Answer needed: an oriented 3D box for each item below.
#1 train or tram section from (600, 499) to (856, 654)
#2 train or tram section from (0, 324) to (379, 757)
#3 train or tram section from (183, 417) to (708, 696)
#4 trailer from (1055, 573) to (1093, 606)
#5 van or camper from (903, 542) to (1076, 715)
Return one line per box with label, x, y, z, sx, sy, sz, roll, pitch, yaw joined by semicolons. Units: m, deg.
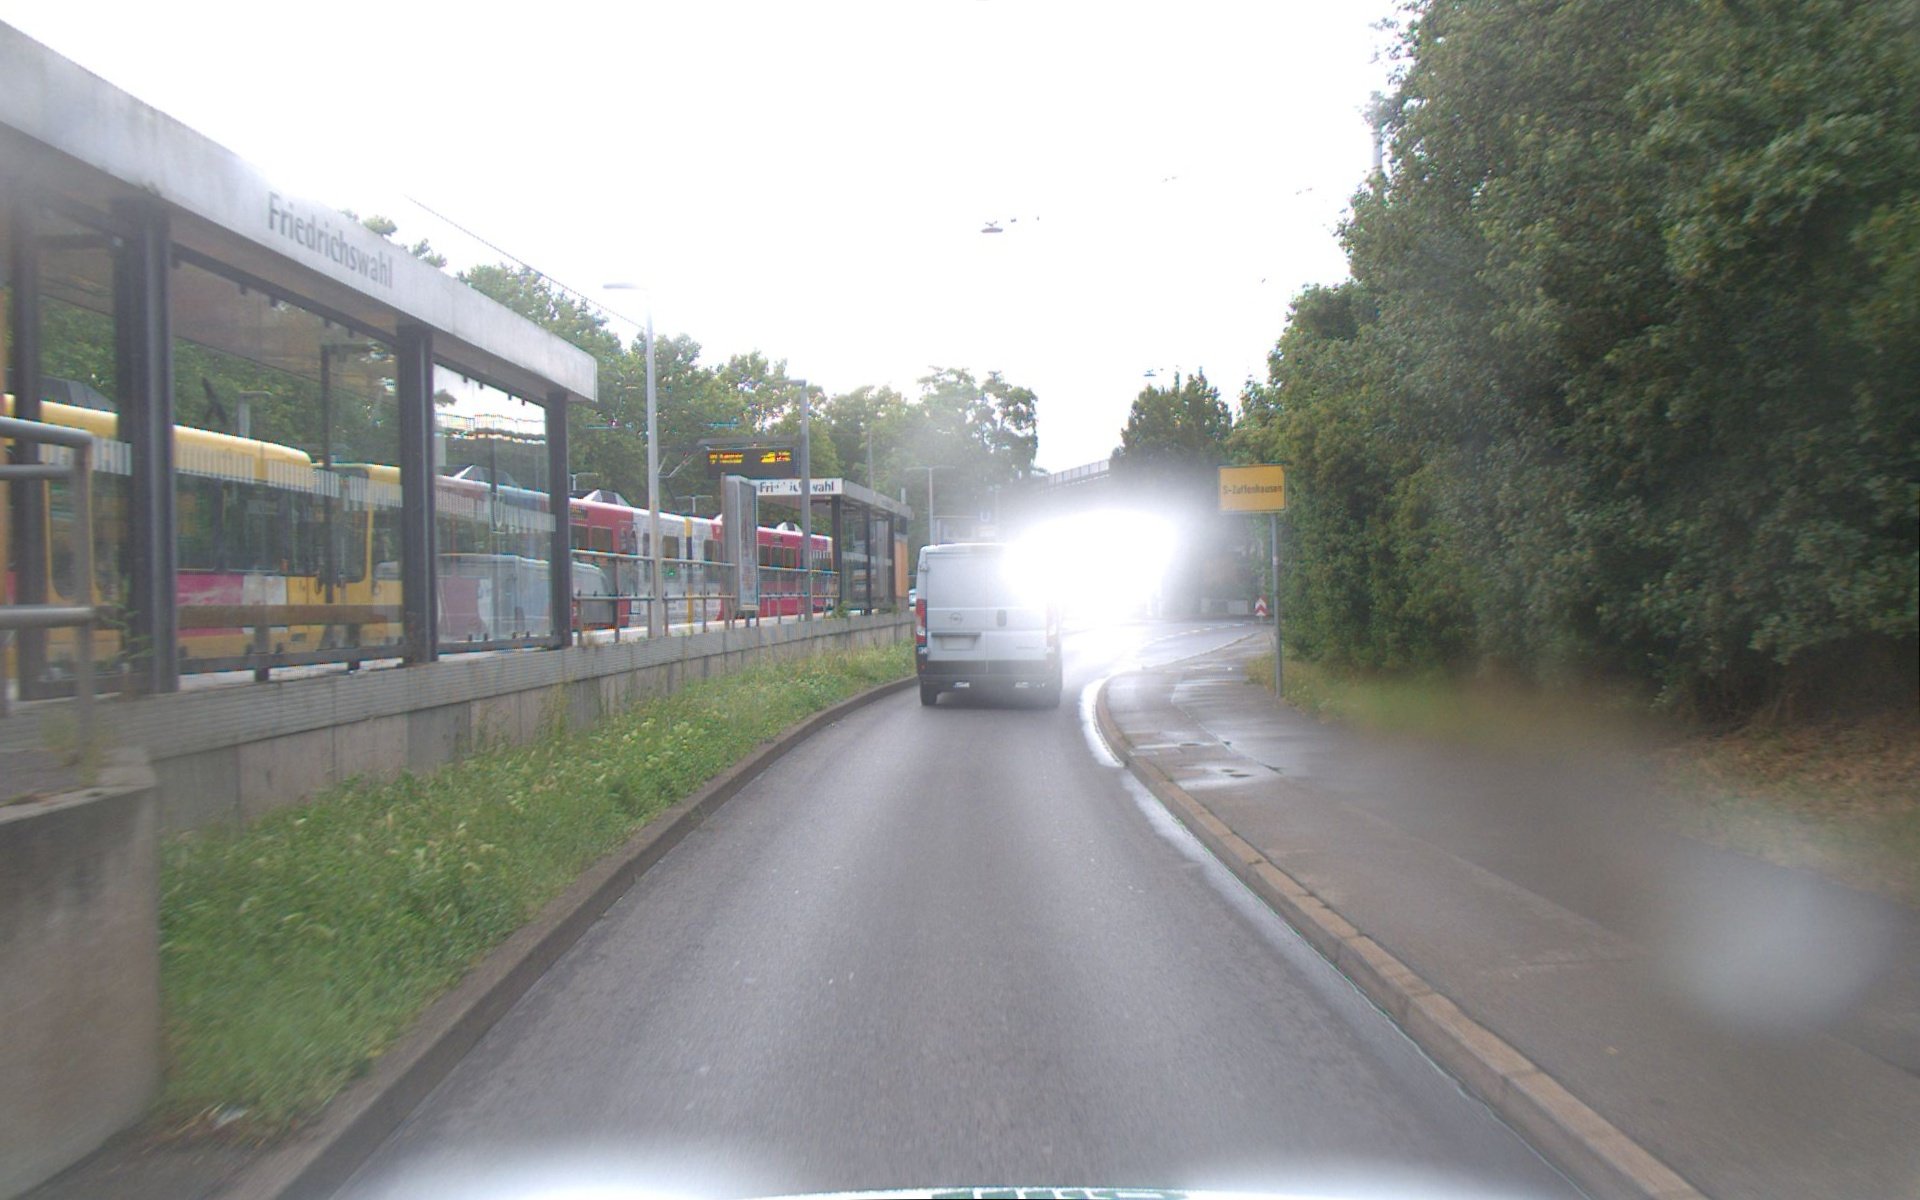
train or tram section;-6.694;-0.587;52.990;2.807;4.030;19.346;1;0;8
train or tram section;-10.367;-0.572;14.455;2.808;4.023;19.337;1;0;3
train or tram section;-8.995;-0.611;33.750;2.807;4.040;19.343;1;0;6
trailer;9.821;-0.906;143.191;1.962;2.773;4.104;0;0;-17
van or camper;0.552;0.388;24.698;2.152;2.292;4.687;1;0;6
